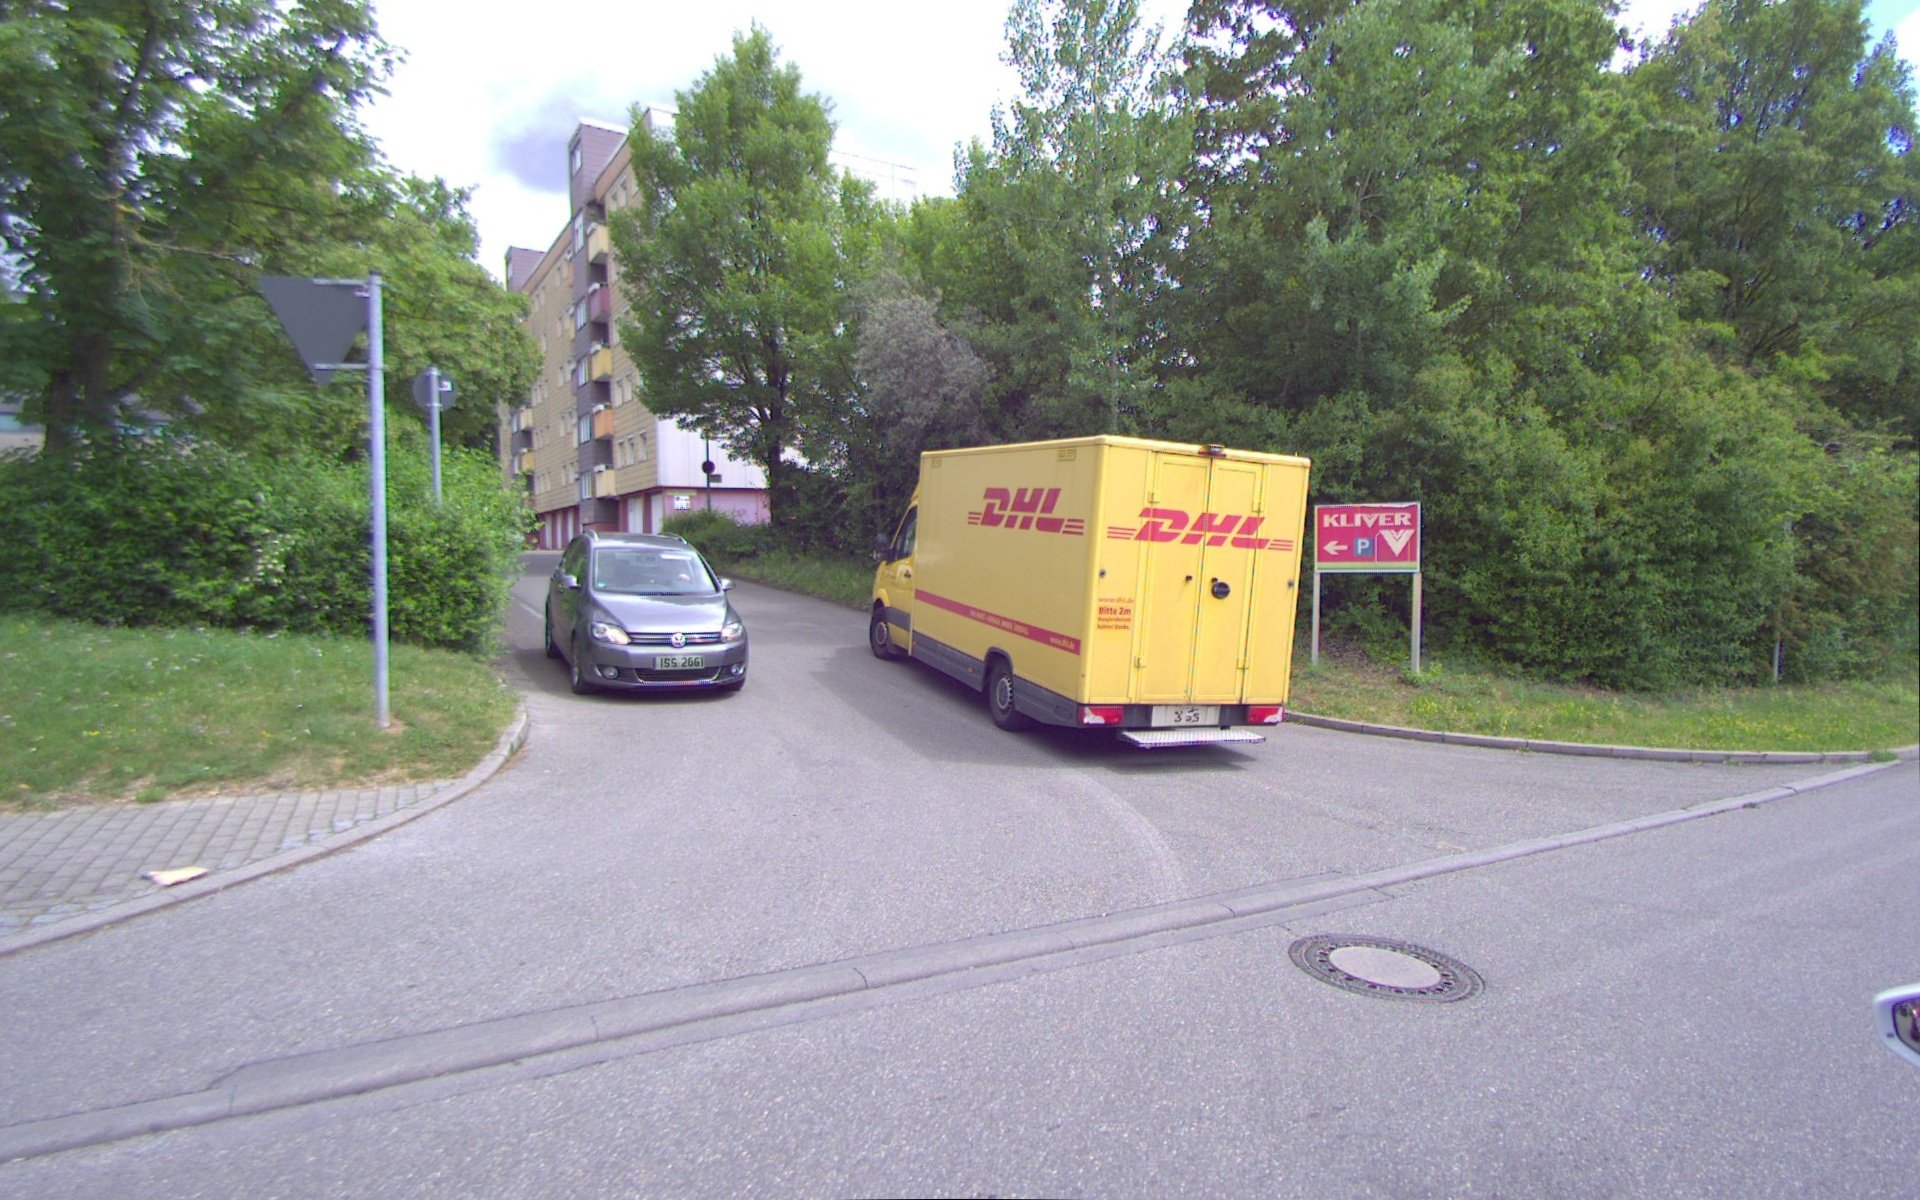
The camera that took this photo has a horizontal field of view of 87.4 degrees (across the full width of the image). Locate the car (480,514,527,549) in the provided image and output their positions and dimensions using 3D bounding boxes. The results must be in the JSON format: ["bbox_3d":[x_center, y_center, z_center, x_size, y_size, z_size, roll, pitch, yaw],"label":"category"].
[{"bbox_3d":[-27.146,-4.026,59.674,1.778,1.850,3.959,1,1,-36],"label":"car"}]

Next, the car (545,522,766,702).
[{"bbox_3d":[-3.676,0.007,11.593,1.735,1.684,4.091,2,3,-27],"label":"car"}]

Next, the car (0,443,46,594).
[{"bbox_3d":[-12.899,-1.030,12.071,1.976,1.885,3.967,2,6,-30],"label":"car"}]

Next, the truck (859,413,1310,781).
[{"bbox_3d":[0.750,-0.314,11.184,2.198,2.847,6.540,1,6,-19],"label":"truck"}]
